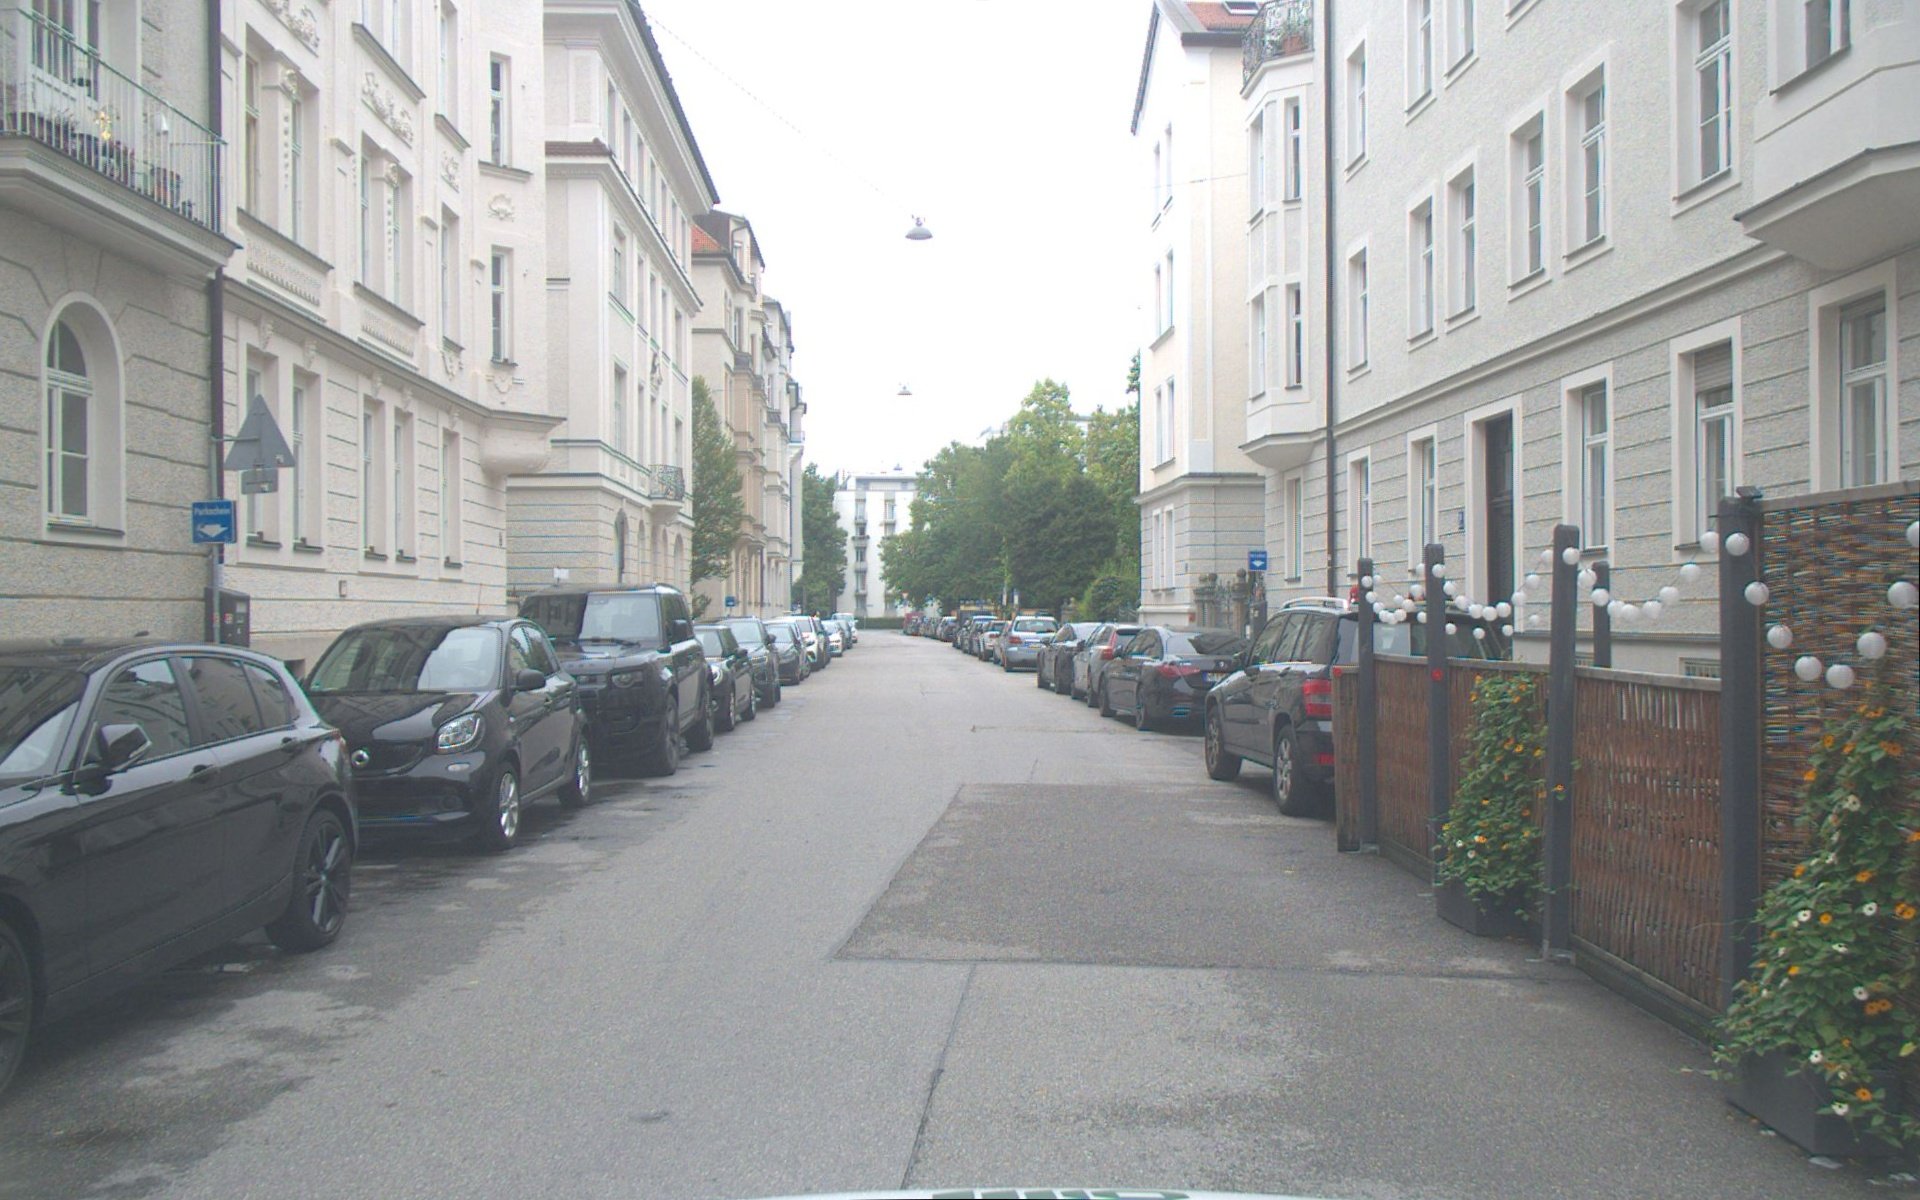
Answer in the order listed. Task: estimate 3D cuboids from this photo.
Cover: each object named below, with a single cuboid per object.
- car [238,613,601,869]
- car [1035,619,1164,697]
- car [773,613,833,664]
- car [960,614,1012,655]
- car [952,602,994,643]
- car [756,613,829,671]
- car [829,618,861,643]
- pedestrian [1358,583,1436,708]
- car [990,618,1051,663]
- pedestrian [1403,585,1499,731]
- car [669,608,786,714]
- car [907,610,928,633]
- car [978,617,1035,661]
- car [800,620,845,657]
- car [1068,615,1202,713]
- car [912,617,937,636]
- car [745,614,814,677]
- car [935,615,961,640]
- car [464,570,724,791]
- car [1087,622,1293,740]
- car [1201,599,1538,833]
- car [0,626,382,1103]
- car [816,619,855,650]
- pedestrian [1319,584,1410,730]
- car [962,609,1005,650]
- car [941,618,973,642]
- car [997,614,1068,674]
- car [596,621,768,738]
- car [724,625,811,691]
[{"bbox_3d":[-3.729,0.883,12.012,1.584,1.539,3.530,-1,0,-3],"label":"car"},{"bbox_3d":[2.829,1.146,34.506,1.954,1.483,4.708,0,-1,-4],"label":"car"},{"bbox_3d":[-5.248,1.254,55.695,1.800,1.647,4.242,0,0,-3],"label":"car"},{"bbox_3d":[1.106,1.486,71.851,1.716,1.639,4.418,2,0,-6],"label":"car"},{"bbox_3d":[0.646,1.145,86.331,1.912,1.988,4.663,1,0,-3],"label":"car"},{"bbox_3d":[-5.013,1.230,50.095,1.876,1.647,4.569,0,0,-2],"label":"car"},{"bbox_3d":[-7.399,1.939,106.571,1.799,1.463,4.273,-3,0,-2],"label":"car"},{"bbox_3d":[6.594,0.679,25.010,0.865,1.845,1.111,0,0,-2],"label":"pedestrian"},{"bbox_3d":[1.960,1.311,54.647,1.719,1.431,3.449,1,-1,-2],"label":"car"},{"bbox_3d":[6.276,0.728,21.212,0.865,1.818,1.110,0,-1,-2],"label":"pedestrian"},{"bbox_3d":[-3.986,1.015,28.921,1.693,1.647,4.118,-2,-1,-4],"label":"car"},{"bbox_3d":[-3.959,1.993,153.859,1.799,1.960,4.004,3,0,-1],"label":"car"},{"bbox_3d":[1.639,1.376,59.544,1.748,1.531,4.063,1,-1,-2],"label":"car"},{"bbox_3d":[-5.879,1.624,71.080,1.800,1.459,4.241,-2,0,-4],"label":"car"},{"bbox_3d":[3.043,1.074,29.558,1.725,1.511,4.418,3,0,-2],"label":"car"},{"bbox_3d":[-3.056,2.295,143.082,1.803,1.545,3.942,1,-1,-6],"label":"car"},{"bbox_3d":[-4.899,1.206,45.117,1.748,1.568,4.252,-2,-1,-6],"label":"car"},{"bbox_3d":[-0.864,1.900,114.471,1.484,1.690,3.670,1,-1,-5],"label":"car"},{"bbox_3d":[-3.638,0.727,17.296,1.800,1.927,4.760,-2,0,-3],"label":"car"},{"bbox_3d":[3.201,1.099,24.078,1.801,1.424,4.967,2,0,-6],"label":"car"},{"bbox_3d":[3.300,0.865,14.179,1.763,1.704,4.188,0,0,-1],"label":"car"},{"bbox_3d":[-3.733,0.845,6.232,1.620,1.431,4.092,-1,-1,1],"label":"car"},{"bbox_3d":[-6.438,1.763,85.691,1.799,1.461,4.243,-3,0,-2],"label":"car"},{"bbox_3d":[5.245,0.720,21.511,0.865,1.843,1.110,0,-1,-3],"label":"pedestrian"},{"bbox_3d":[1.061,1.380,76.907,1.688,1.800,4.411,3,-1,-2],"label":"car"},{"bbox_3d":[-0.226,1.883,104.529,1.801,1.438,4.340,1,-1,-3],"label":"car"},{"bbox_3d":[2.088,1.255,48.708,1.785,1.596,4.399,3,0,0],"label":"car"},{"bbox_3d":[-3.860,1.062,23.624,1.799,1.418,4.243,-2,0,-1],"label":"car"},{"bbox_3d":[-4.638,1.363,40.428,1.757,1.440,4.276,-2,-1,-3],"label":"car"}]
